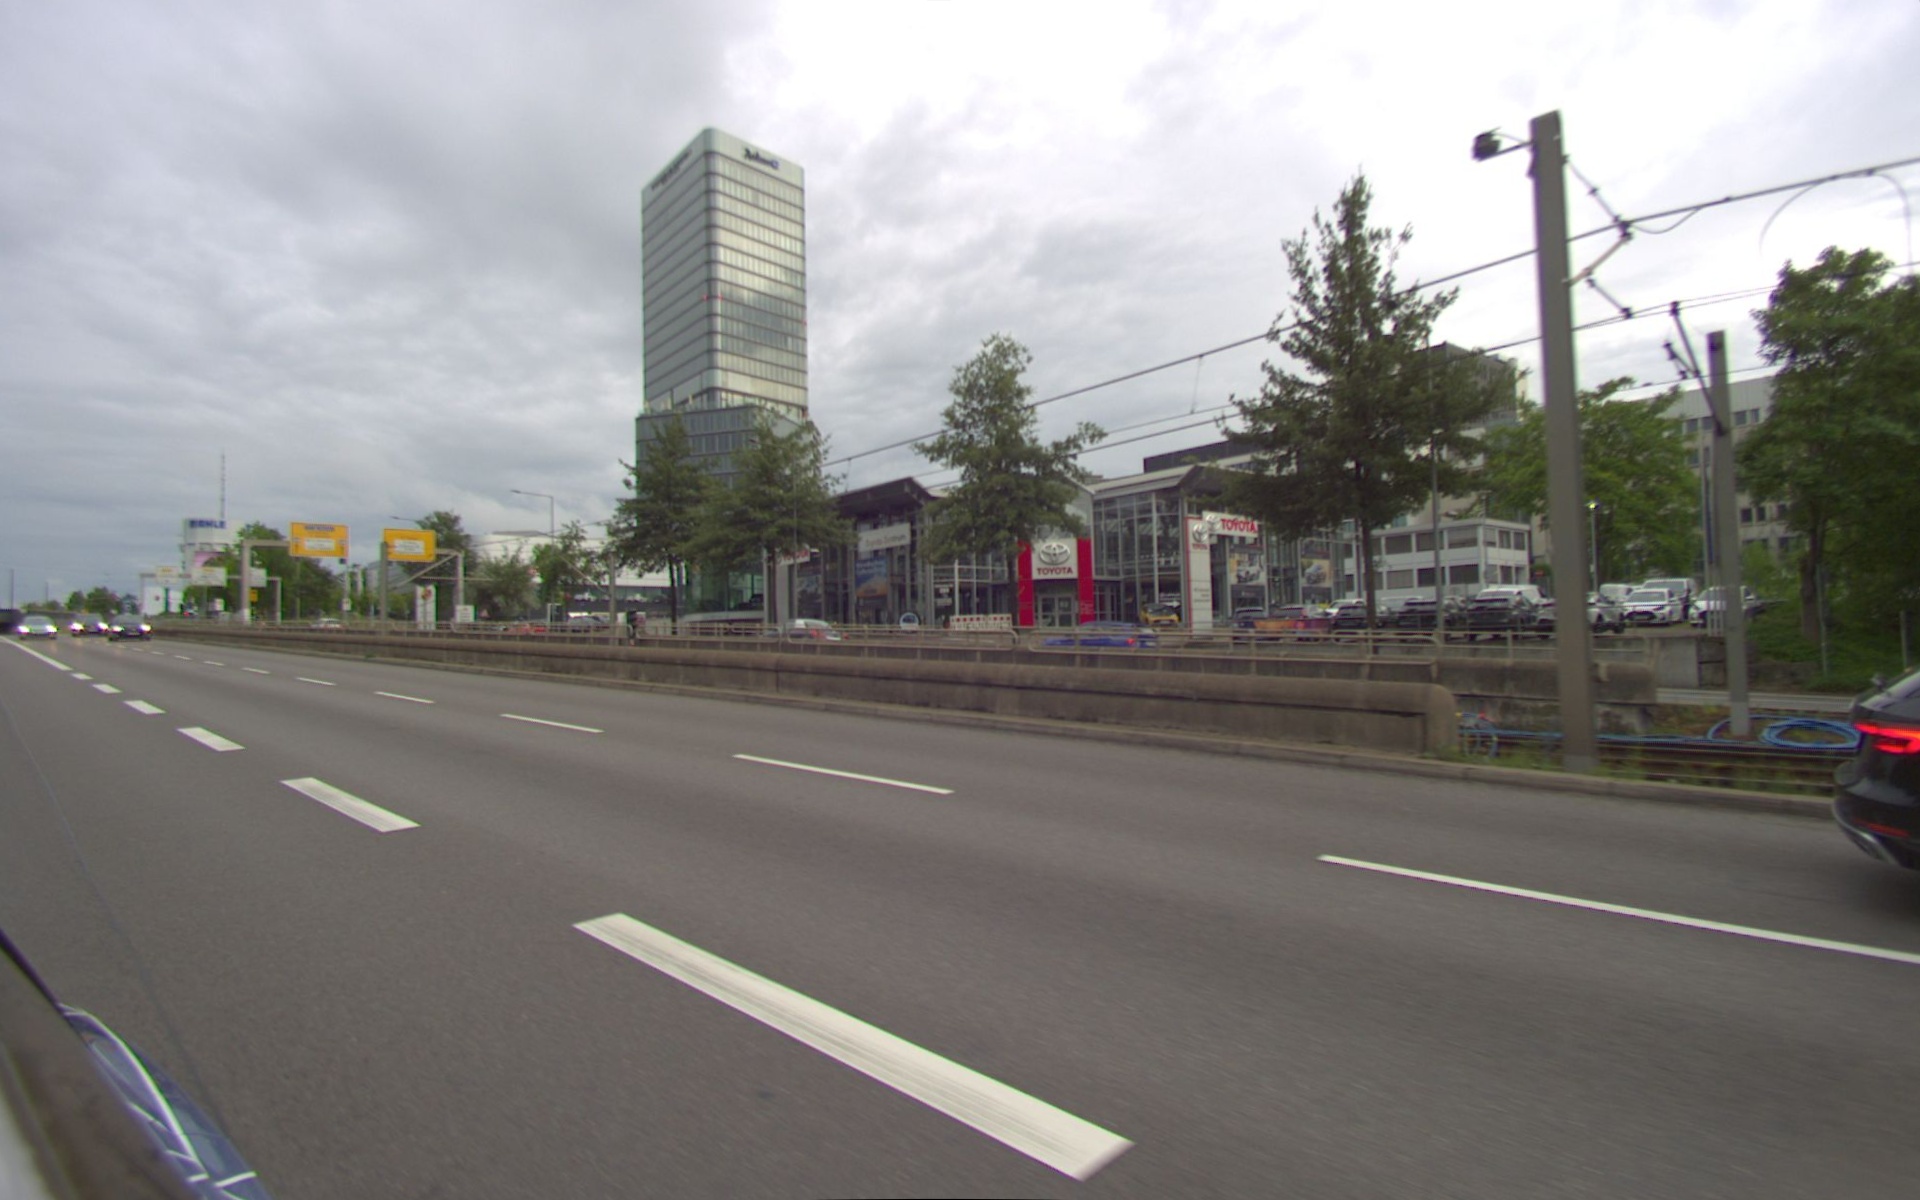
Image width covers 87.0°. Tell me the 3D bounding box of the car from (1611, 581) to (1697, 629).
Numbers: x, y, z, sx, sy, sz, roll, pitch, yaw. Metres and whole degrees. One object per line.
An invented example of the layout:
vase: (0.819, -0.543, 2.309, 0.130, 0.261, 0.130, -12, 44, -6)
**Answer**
car: (28.063, 0.161, 40.877, 4.300, 1.828, 1.888, -1, 0, -42)

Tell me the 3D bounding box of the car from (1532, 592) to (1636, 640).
car: (21.367, 0.499, 34.576, 4.300, 1.515, 1.888, -1, 0, -42)

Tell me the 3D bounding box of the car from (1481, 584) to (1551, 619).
car: (27.359, 0.057, 49.765, 3.861, 1.605, 1.805, -1, 0, -42)

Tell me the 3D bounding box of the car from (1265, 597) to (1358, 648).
car: (14.609, 0.874, 42.005, 4.302, 1.962, 1.887, -1, 0, -44)

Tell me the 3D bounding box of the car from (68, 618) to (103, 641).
car: (-62.505, 2.084, 72.288, 1.768, 1.556, 4.382, -1, 0, -43)

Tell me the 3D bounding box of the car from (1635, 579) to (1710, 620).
car: (32.555, -0.028, 46.188, 4.300, 1.784, 1.888, -1, 0, -42)

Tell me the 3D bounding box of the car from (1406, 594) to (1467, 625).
car: (29.586, 0.576, 62.752, 4.300, 1.828, 1.888, -1, 0, -42)

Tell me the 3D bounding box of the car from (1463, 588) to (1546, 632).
car: (24.154, 0.397, 44.865, 4.300, 1.828, 1.888, -1, 0, -42)

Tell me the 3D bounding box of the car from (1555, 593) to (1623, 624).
car: (29.515, 0.380, 47.460, 3.925, 1.383, 1.661, -1, 0, -42)

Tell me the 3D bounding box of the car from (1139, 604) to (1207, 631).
car: (12.112, 0.946, 57.453, 3.938, 1.417, 1.762, -1, 0, -42)

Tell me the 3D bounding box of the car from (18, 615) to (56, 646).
car: (-59.902, 1.940, 65.684, 1.768, 1.882, 4.382, -1, 0, -43)

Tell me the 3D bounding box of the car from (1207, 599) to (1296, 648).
car: (12.699, 0.968, 43.910, 4.165, 1.962, 1.866, -1, 0, -44)

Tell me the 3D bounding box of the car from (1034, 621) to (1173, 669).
car: (4.435, 1.358, 31.719, 1.745, 1.319, 4.115, -1, 0, -43)

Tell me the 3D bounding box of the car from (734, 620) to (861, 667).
car: (-5.565, 1.421, 34.238, 1.769, 1.411, 4.879, -1, 0, -44)

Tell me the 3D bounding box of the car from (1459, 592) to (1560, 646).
car: (19.642, 0.625, 36.132, 4.136, 1.785, 1.888, -1, 0, -42)

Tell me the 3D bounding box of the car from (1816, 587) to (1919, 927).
car: (6.113, 0.616, 3.412, 4.807, 1.424, 1.766, -1, -1, 44)

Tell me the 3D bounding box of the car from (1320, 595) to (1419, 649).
car: (16.134, 0.820, 39.808, 4.300, 1.962, 1.888, -1, 0, -42)

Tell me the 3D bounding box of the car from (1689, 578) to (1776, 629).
car: (29.819, 0.108, 39.020, 4.300, 1.828, 1.888, -1, 0, -42)

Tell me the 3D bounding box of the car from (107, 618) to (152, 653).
car: (-48.127, 2.019, 58.638, 1.768, 1.882, 4.382, -1, 0, -43)

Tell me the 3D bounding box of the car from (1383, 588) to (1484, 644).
car: (17.830, 0.557, 38.037, 4.300, 1.962, 1.888, -1, 0, -42)

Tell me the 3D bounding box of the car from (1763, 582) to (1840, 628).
car: (34.928, 0.175, 41.969, 4.300, 1.784, 1.846, -1, 0, -42)

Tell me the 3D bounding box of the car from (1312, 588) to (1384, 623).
car: (21.249, 0.289, 55.348, 4.300, 1.828, 1.888, -1, 0, -42)
